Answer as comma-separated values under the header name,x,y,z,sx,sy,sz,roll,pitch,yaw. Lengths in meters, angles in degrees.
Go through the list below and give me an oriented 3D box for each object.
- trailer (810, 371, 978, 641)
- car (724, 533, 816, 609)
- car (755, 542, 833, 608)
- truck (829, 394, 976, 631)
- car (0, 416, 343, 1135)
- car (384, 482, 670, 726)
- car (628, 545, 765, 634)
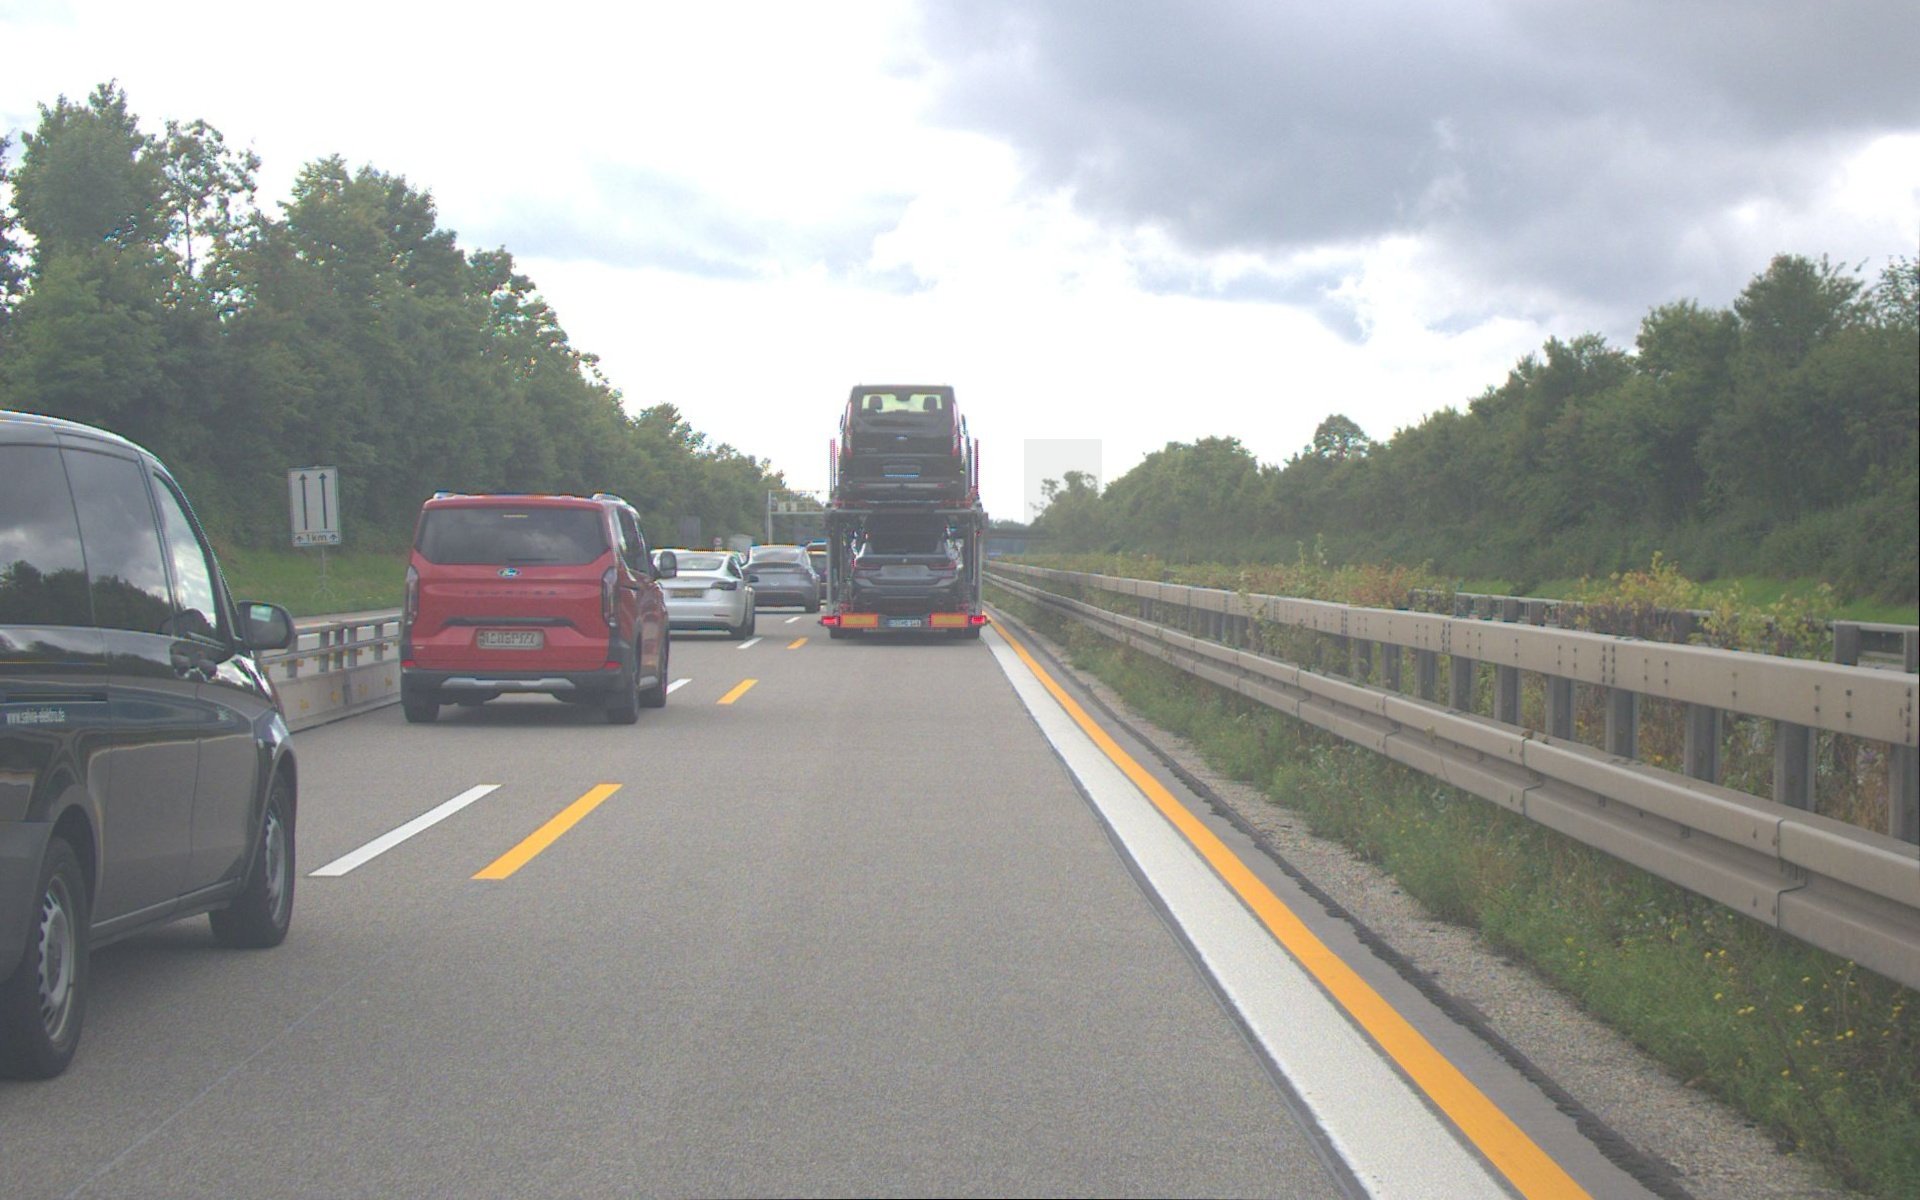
name,x,y,z,sx,sy,sz,roll,pitch,yaw
trailer,-1.016,-1.503,57.812,2.515,4.091,11.113,1,1,0
car,-4.491,-0.695,81.780,2.031,1.751,4.578,0,1,-1
car,-4.512,-0.691,93.915,2.031,1.751,4.578,0,1,-2
truck,-1.002,-1.560,62.573,2.515,4.091,5.685,1,1,0
car,-3.472,0.415,11.144,1.993,1.837,5.610,0,1,-1
car,-3.767,0.002,30.683,2.031,2.007,4.578,0,1,-1
car,-4.343,-0.200,57.326,2.031,1.426,4.578,0,1,-1
